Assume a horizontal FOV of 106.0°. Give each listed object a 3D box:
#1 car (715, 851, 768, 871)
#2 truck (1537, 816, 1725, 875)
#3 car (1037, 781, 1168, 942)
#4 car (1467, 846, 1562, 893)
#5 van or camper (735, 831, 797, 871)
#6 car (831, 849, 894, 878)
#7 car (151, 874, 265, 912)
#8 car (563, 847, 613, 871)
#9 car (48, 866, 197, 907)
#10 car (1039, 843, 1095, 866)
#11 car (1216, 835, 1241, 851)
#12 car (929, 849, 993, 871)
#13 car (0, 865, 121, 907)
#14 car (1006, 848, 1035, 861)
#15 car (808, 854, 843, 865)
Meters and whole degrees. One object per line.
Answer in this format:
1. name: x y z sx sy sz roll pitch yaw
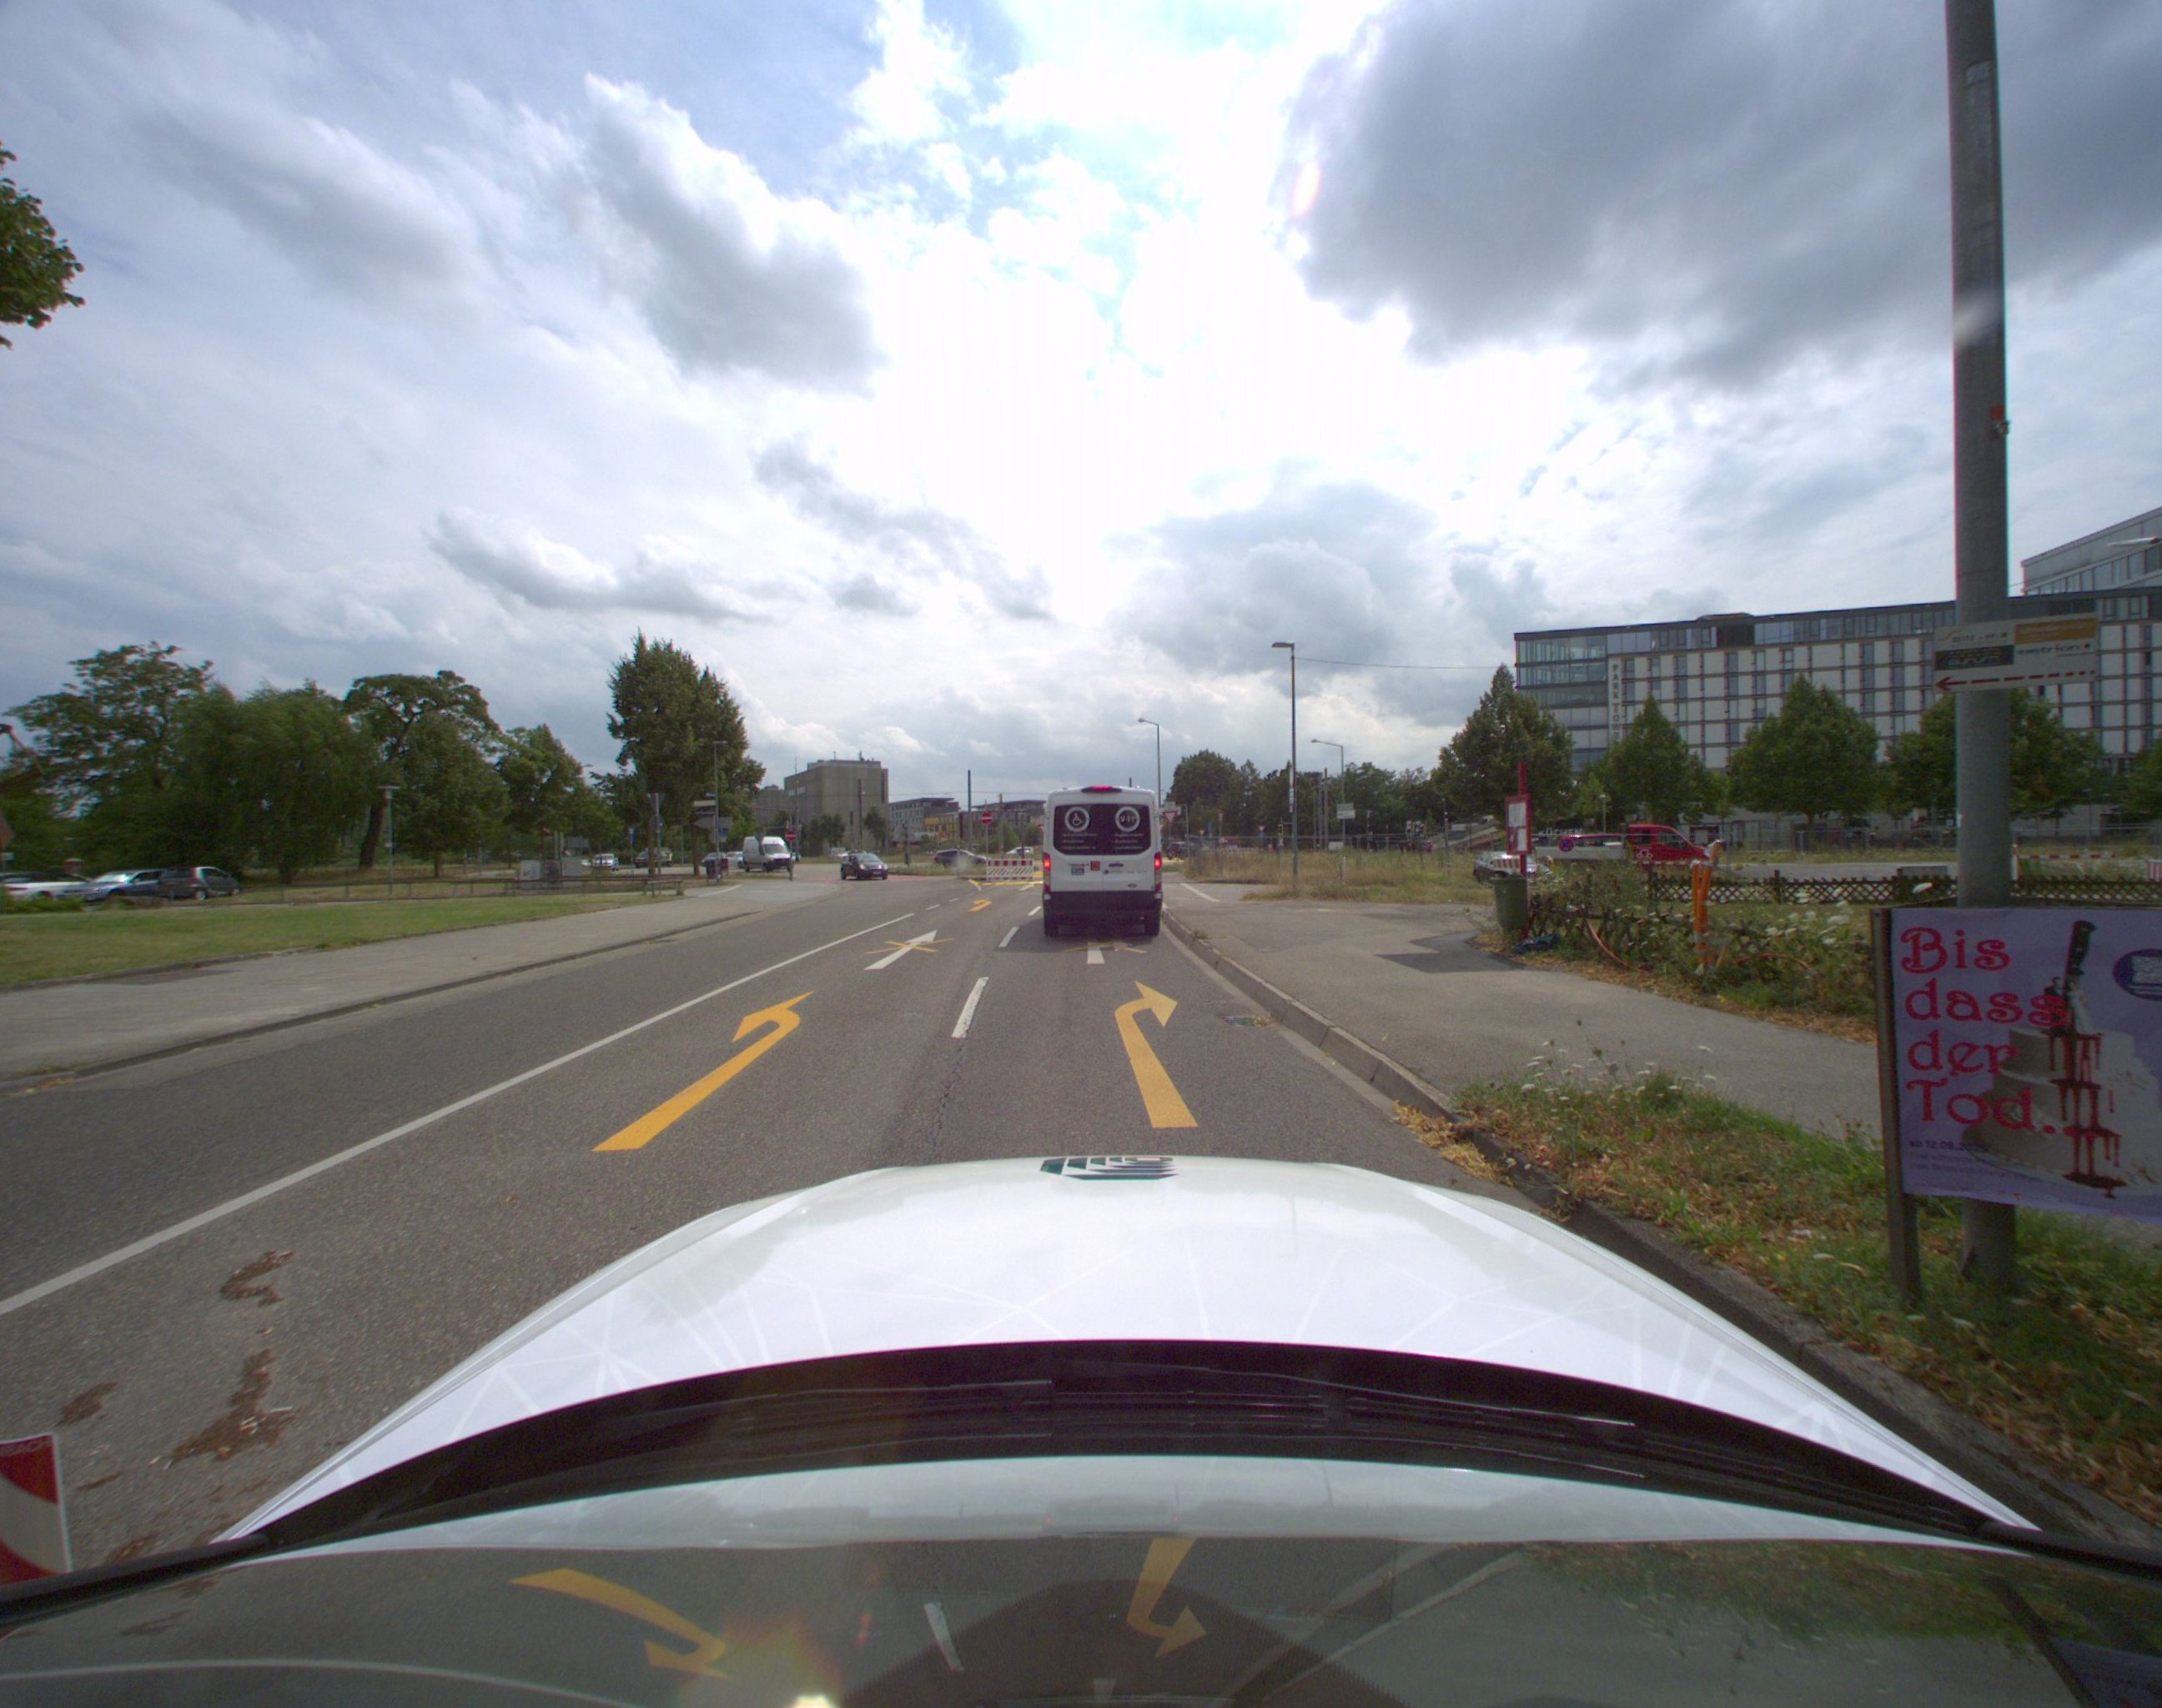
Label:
1. car: -28.064 0.554 67.296 4.979 1.578 1.877 0 1 39
2. truck: 23.919 -0.367 35.844 6.599 2.426 2.549 0 1 27
3. car: 0.394 0.089 15.027 2.055 2.539 4.001 -1 1 1
4. car: 16.396 0.538 31.033 1.840 1.496 4.347 -2 1 9
5. van or camper: -23.461 -0.206 60.583 2.169 2.725 6.202 -3 2 -41
6. car: -12.148 0.486 45.188 1.786 1.478 4.207 -1 1 -39
7. car: -40.928 1.775 38.314 1.659 1.477 3.624 -2 2 -8
8. car: -45.408 0.419 75.022 3.950 2.013 2.012 -2 1 26
9. car: -43.207 1.423 36.880 1.804 1.508 4.137 -2 2 -2
10. car: -1.133 0.033 64.890 4.001 1.661 1.878 -3 1 -21
11. car: 17.890 -1.360 98.895 2.003 1.816 4.406 -3 1 -4
12. car: -8.741 0.416 59.492 4.327 1.354 1.622 -3 1 0
13. car: -46.062 1.411 36.270 1.806 1.591 4.131 -2 2 -6
14. car: -9.195 0.055 124.091 4.016 1.771 1.749 -3 1 -33
15. car: -33.154 0.705 105.715 4.018 1.192 1.667 -3 1 -36
